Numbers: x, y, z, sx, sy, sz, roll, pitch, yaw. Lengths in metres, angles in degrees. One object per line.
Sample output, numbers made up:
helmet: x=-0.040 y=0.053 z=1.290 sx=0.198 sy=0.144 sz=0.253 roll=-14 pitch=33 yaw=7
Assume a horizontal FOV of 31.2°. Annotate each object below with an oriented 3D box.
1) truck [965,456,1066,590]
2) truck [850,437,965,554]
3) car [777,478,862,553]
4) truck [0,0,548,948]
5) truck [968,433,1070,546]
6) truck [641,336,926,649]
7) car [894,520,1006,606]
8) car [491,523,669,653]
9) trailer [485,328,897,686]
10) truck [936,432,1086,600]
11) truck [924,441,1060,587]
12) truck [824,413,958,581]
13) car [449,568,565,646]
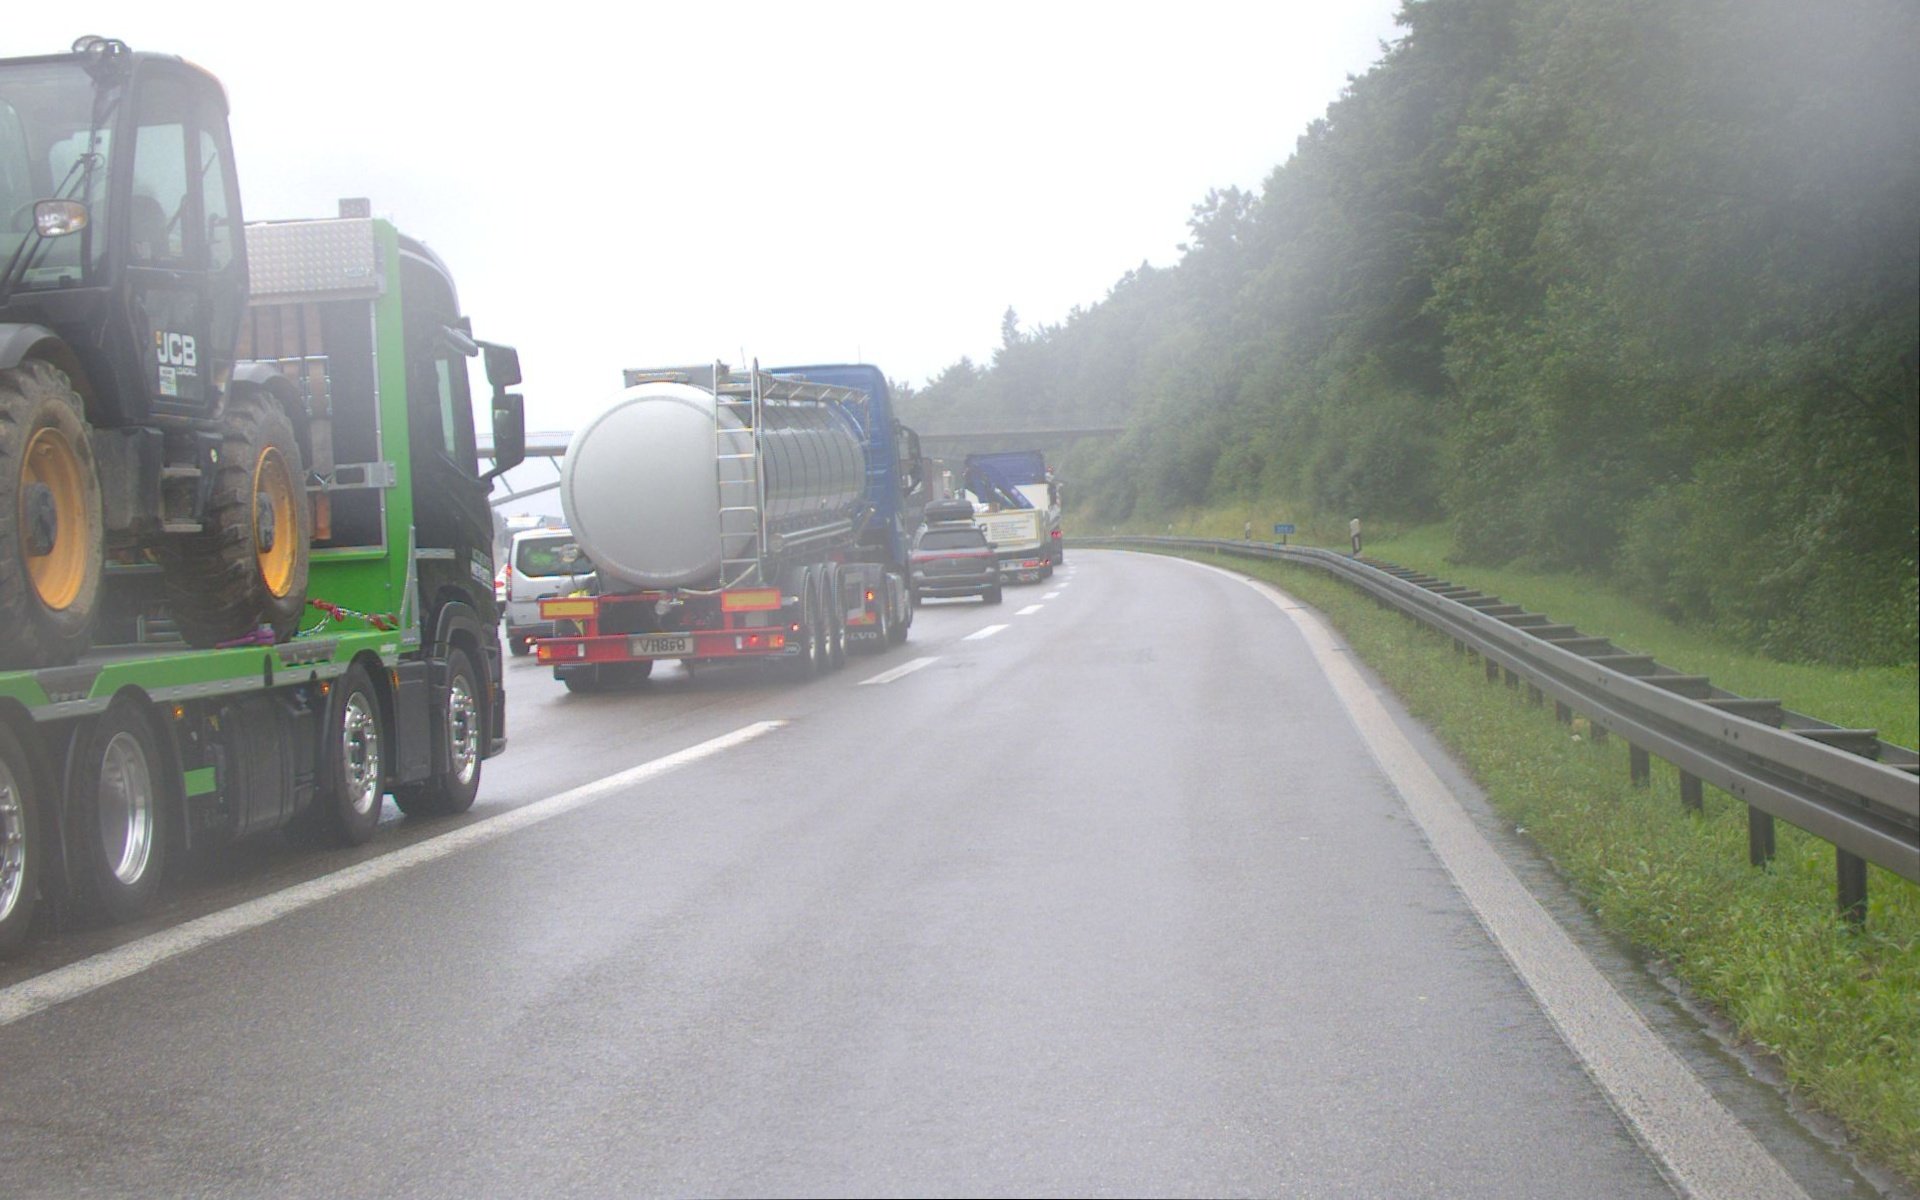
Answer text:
truck: x=2.564 y=-3.417 z=156.375 sx=4.336 sy=5.744 sz=9.730 roll=1 pitch=0 yaw=1
truck: x=-1.991 y=-4.038 z=135.674 sx=3.577 sy=4.081 sz=10.878 roll=-2 pitch=0 yaw=4
car: x=-3.669 y=-2.198 z=90.416 sx=1.797 sy=1.831 sz=3.999 roll=1 pitch=0 yaw=4
truck: x=-4.512 y=-0.574 z=14.470 sx=2.831 sy=3.576 sz=11.795 roll=-3 pitch=1 yaw=6
truck: x=2.327 y=-4.239 z=134.865 sx=3.755 sy=3.957 sz=11.059 roll=1 pitch=0 yaw=1
truck: x=-2.177 y=-1.363 z=44.293 sx=2.877 sy=3.681 sz=5.056 roll=-2 pitch=1 yaw=5
car: x=-0.171 y=-0.722 z=68.770 sx=1.994 sy=1.630 sz=3.999 roll=1 pitch=0 yaw=3
car: x=-5.473 y=-0.200 z=49.953 sx=1.820 sy=1.761 sz=4.000 roll=-2 pitch=1 yaw=4
trailer: x=-2.648 y=-1.005 z=37.660 sx=2.874 sy=3.277 sz=10.077 roll=-2 pitch=1 yaw=4
truck: x=1.478 y=-2.263 z=92.915 sx=3.600 sy=4.091 sz=11.560 roll=-3 pitch=1 yaw=2
truck: x=1.105 y=-2.606 z=109.003 sx=3.508 sy=4.253 sz=10.601 roll=1 pitch=0 yaw=5
truck: x=-2.336 y=-3.495 z=120.772 sx=3.755 sy=5.480 sz=10.171 roll=1 pitch=0 yaw=4
car: x=-10.974 y=0.152 z=83.551 sx=1.994 sy=1.766 sz=4.134 roll=-2 pitch=1 yaw=3
